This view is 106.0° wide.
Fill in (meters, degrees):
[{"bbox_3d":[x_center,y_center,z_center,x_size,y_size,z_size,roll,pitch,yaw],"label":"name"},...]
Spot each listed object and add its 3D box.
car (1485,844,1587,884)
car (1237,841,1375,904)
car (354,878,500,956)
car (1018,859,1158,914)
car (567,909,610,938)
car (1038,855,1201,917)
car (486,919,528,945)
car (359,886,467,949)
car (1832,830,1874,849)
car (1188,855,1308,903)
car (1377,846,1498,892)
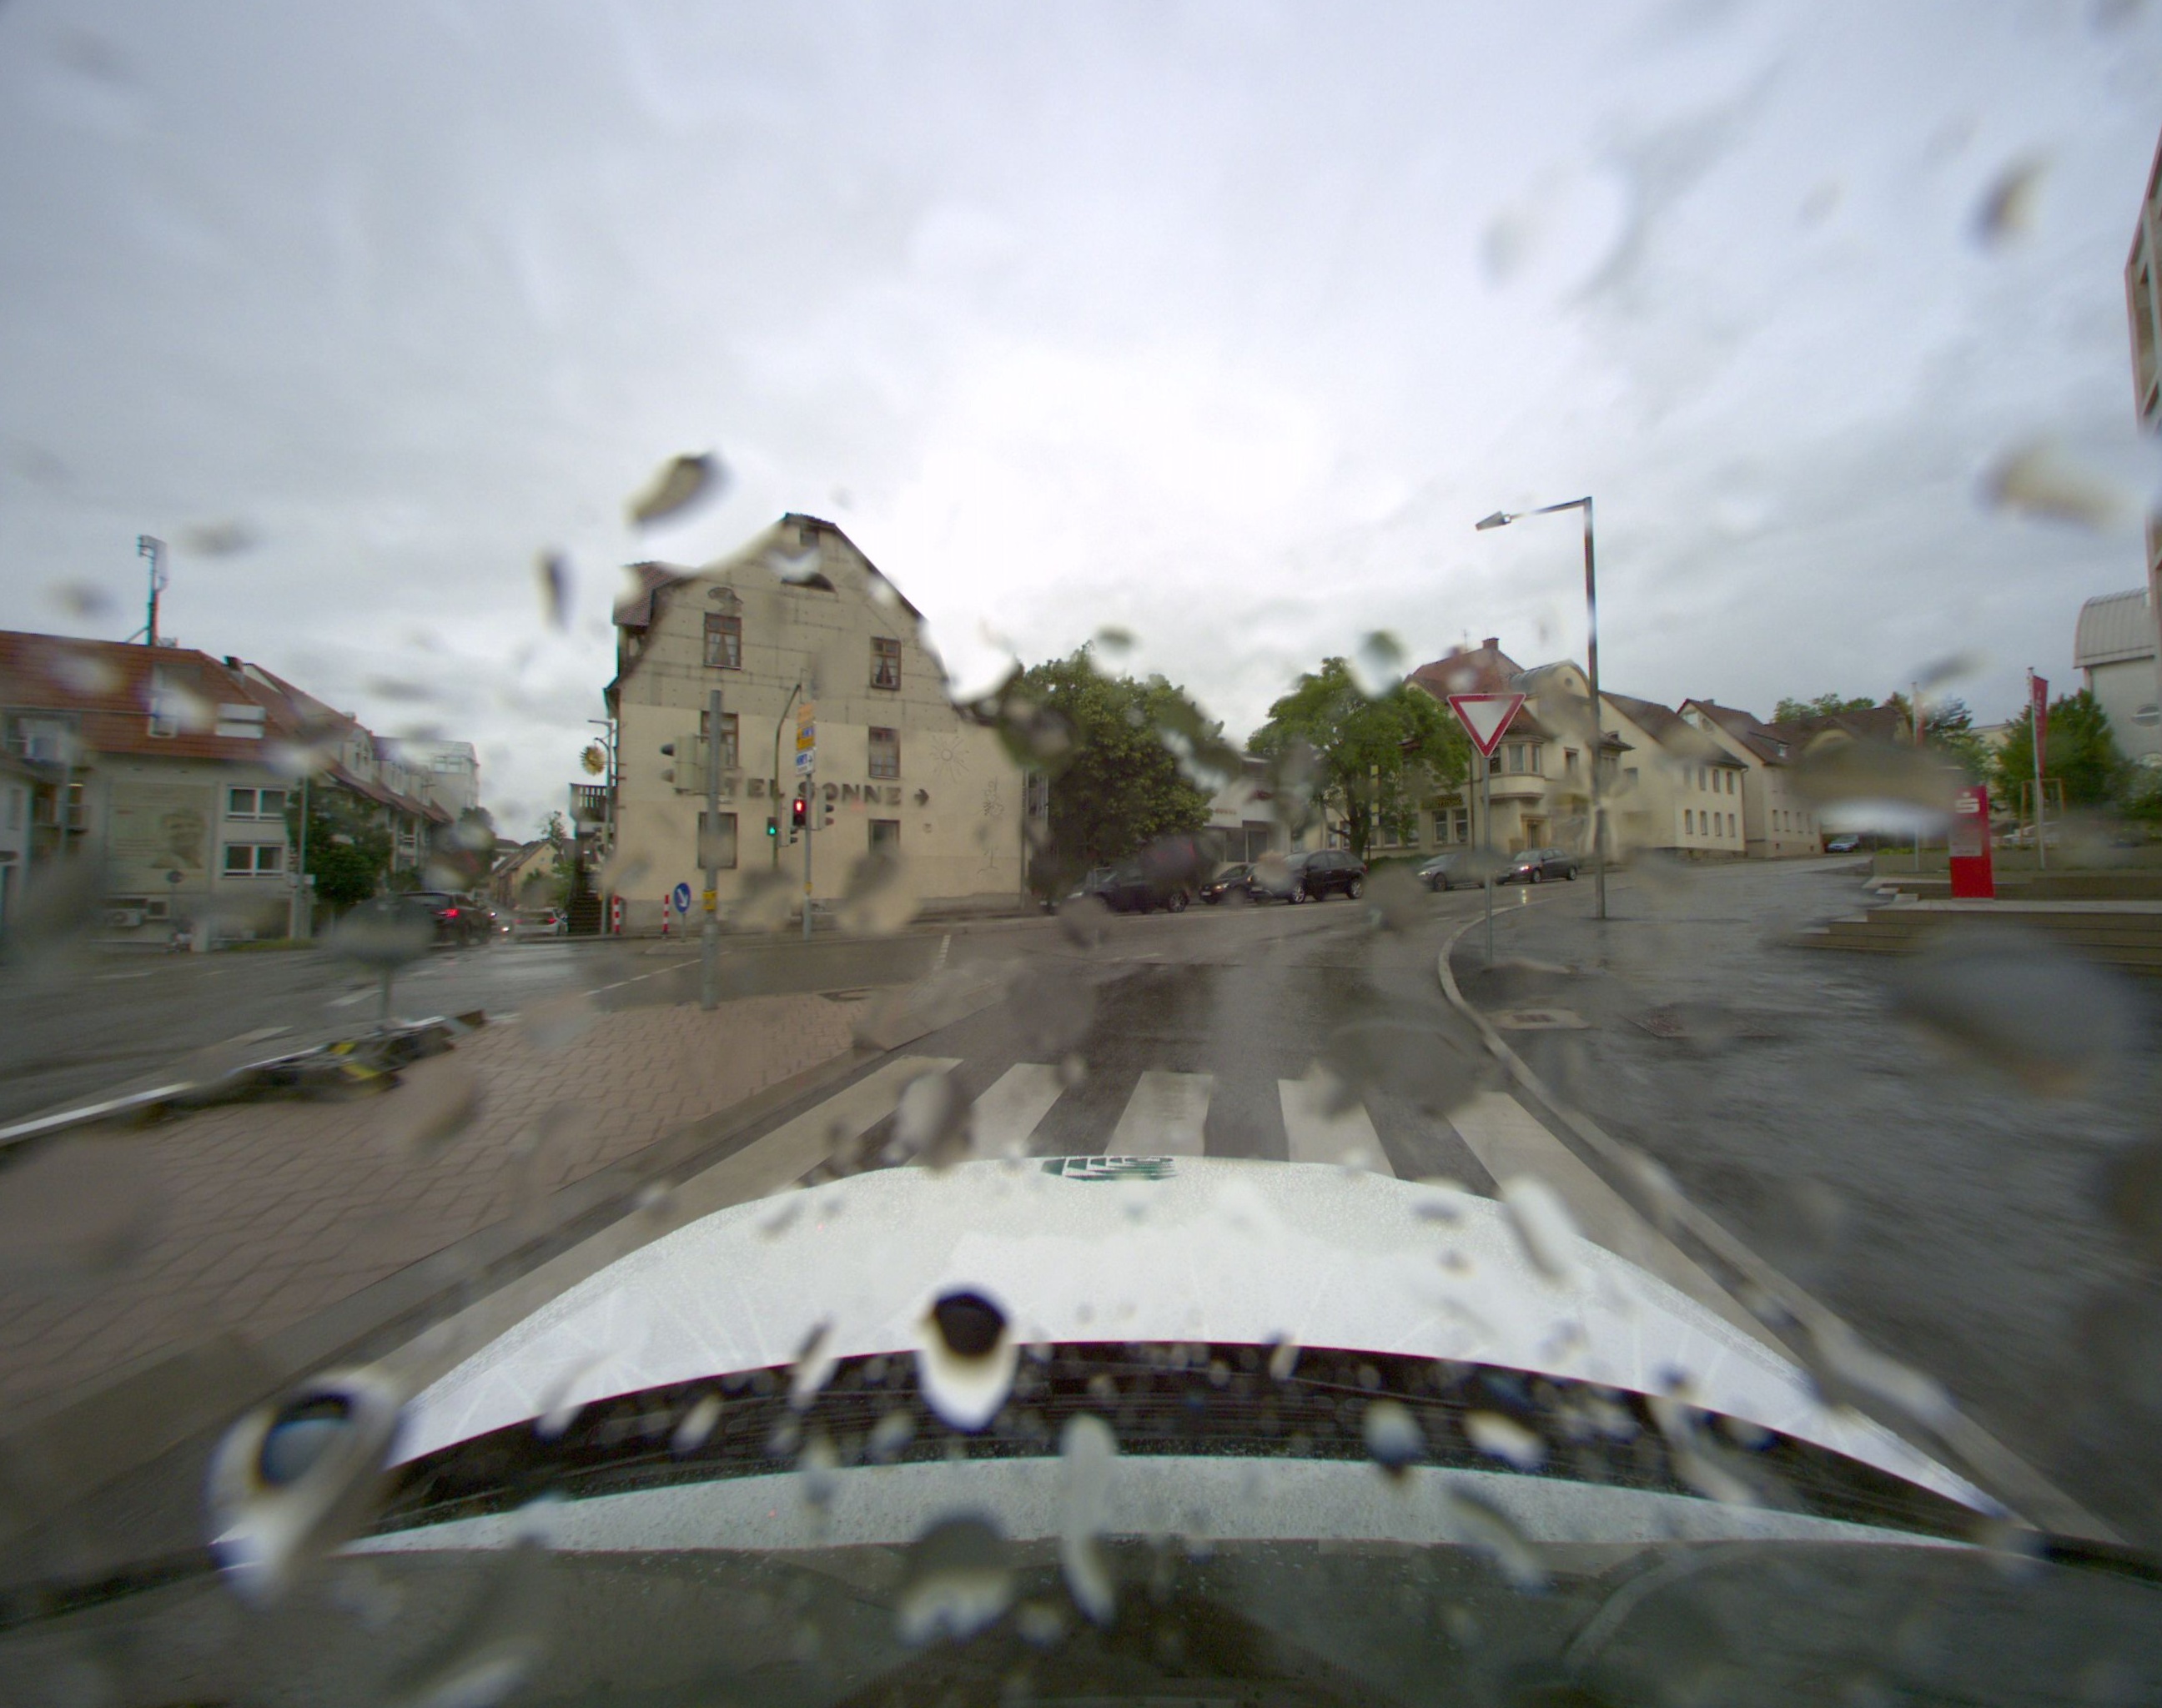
[{"bbox_3d":[18.891,0.401,33.809,4.200,1.452,1.761,-2,-3,-31],"label":"car"},{"bbox_3d":[7.378,0.577,26.626,4.330,1.816,1.761,-2,-3,-31],"label":"car"},{"bbox_3d":[-17.122,1.556,21.591,1.954,1.566,4.382,1,2,-24],"label":"car"},{"bbox_3d":[0.266,1.041,26.540,4.200,1.519,1.761,-2,-3,-31],"label":"car"},{"bbox_3d":[-32.778,4.590,54.313,1.895,1.467,3.969,-1,1,-24],"label":"car"},{"bbox_3d":[1.136,0.899,23.143,4.331,1.505,1.760,-2,-3,-32],"label":"car"},{"bbox_3d":[-44.460,6.019,63.144,1.895,1.467,3.969,-1,1,-24],"label":"car"},{"bbox_3d":[-33.072,3.033,40.622,2.601,2.626,6.502,-2,0,-25],"label":"car"},{"bbox_3d":[65.719,-1.234,69.300,3.241,1.453,1.680,-2,0,-29],"label":"car"},{"bbox_3d":[6.206,0.929,30.161,4.200,1.519,1.761,-2,-3,-31],"label":"car"},{"bbox_3d":[13.377,0.542,30.488,4.554,1.452,1.761,-2,-3,-31],"label":"car"}]
